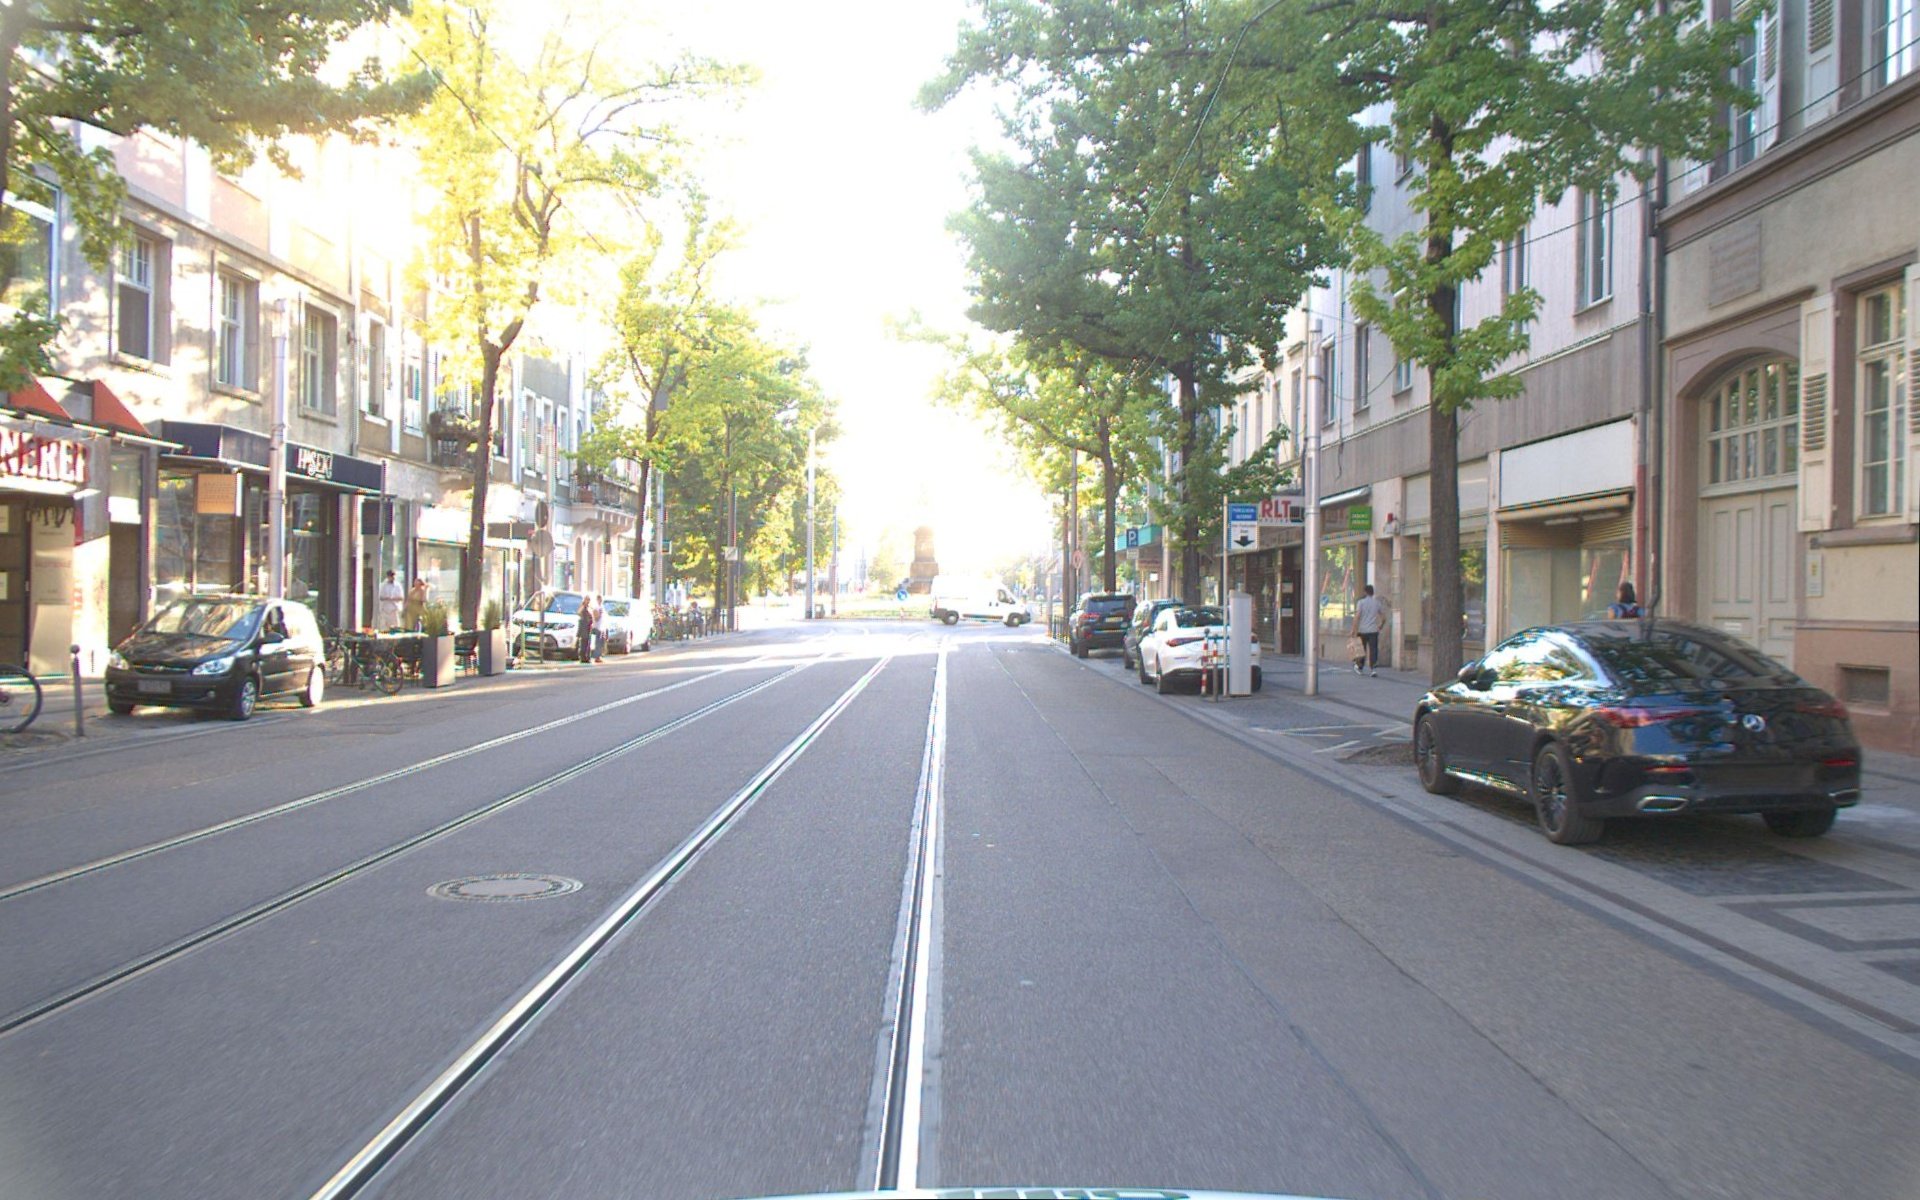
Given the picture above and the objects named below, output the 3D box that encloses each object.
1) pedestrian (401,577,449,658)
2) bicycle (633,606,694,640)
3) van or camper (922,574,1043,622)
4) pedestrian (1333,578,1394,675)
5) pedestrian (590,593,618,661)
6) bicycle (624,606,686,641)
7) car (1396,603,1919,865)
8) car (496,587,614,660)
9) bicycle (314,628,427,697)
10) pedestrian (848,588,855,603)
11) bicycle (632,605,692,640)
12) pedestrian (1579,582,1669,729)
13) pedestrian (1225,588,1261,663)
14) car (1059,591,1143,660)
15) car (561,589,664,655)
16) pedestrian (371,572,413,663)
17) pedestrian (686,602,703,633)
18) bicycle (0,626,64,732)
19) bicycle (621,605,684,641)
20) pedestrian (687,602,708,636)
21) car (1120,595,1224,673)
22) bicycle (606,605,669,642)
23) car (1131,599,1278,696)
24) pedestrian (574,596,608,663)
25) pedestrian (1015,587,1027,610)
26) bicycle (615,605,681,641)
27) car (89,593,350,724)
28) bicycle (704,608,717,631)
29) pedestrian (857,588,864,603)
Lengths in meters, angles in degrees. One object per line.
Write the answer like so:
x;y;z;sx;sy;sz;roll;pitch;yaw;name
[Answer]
-12.045;0.393;37.257;0.707;1.791;1.090;1;0;0;pedestrian
-10.293;0.797;57.433;1.981;1.124;0.501;2;-1;2;bicycle
1.172;-0.097;88.682;6.183;2.516;2.610;0;0;-9;van or camper
7.692;0.500;31.561;0.840;1.783;0.932;-3;0;-1;pedestrian
-8.370;0.635;38.885;0.510;1.596;0.633;0;-1;0;pedestrian
-10.422;0.799;56.552;1.998;1.124;0.497;3;-1;-26;bicycle
4.829;0.805;12.299;1.796;1.504;4.760;-2;0;-1;car
-9.985;0.550;41.098;1.799;1.607;4.116;4;0;0;car
-9.143;0.964;25.666;1.582;0.982;0.433;2;0;5;bicycle
-11.601;-0.491;177.031;0.754;1.634;0.637;0;0;-7;pedestrian
-10.455;0.791;58.017;1.981;1.124;0.501;2;-1;2;bicycle
7.887;0.645;19.678;0.644;1.694;0.888;-2;0;-1;pedestrian
6.642;0.589;38.804;0.630;1.699;0.786;-2;0;-1;pedestrian
4.012;0.689;47.665;1.899;1.790;4.679;-3;0;-1;car
-9.661;0.583;46.321;1.799;1.607;4.702;4;0;0;car
-12.872;0.388;37.491;0.707;2.049;0.642;1;0;-1;pedestrian
-10.583;0.710;65.953;0.579;1.214;0.641;1;0;-3;pedestrian
-10.484;0.813;17.404;1.776;1.083;0.440;1;0;-9;bicycle
-10.402;0.772;55.931;1.998;1.124;0.497;3;-1;-26;bicycle
-10.201;0.742;64.316;0.713;1.313;0.856;1;0;-3;pedestrian
4.797;0.734;37.907;1.740;1.618;3.891;-3;0;-1;car
-10.597;0.764;54.387;1.921;1.124;0.563;3;-1;-26;bicycle
4.358;0.793;30.148;1.953;1.524;4.680;-3;0;0;car
-8.487;0.680;38.101;0.607;1.536;0.729;0;-1;0;pedestrian
4.389;-0.079;118.771;0.624;1.634;0.771;0;0;26;pedestrian
-10.421;0.764;55.327;2.082;1.124;0.497;3;-1;-26;bicycle
-9.428;0.689;21.409;1.632;1.453;3.826;3;0;-1;car
-10.504;0.823;69.617;0.329;0.962;1.510;0;0;0;bicycle
-10.628;-0.482;176.639;0.754;1.634;0.637;0;0;-7;pedestrian
